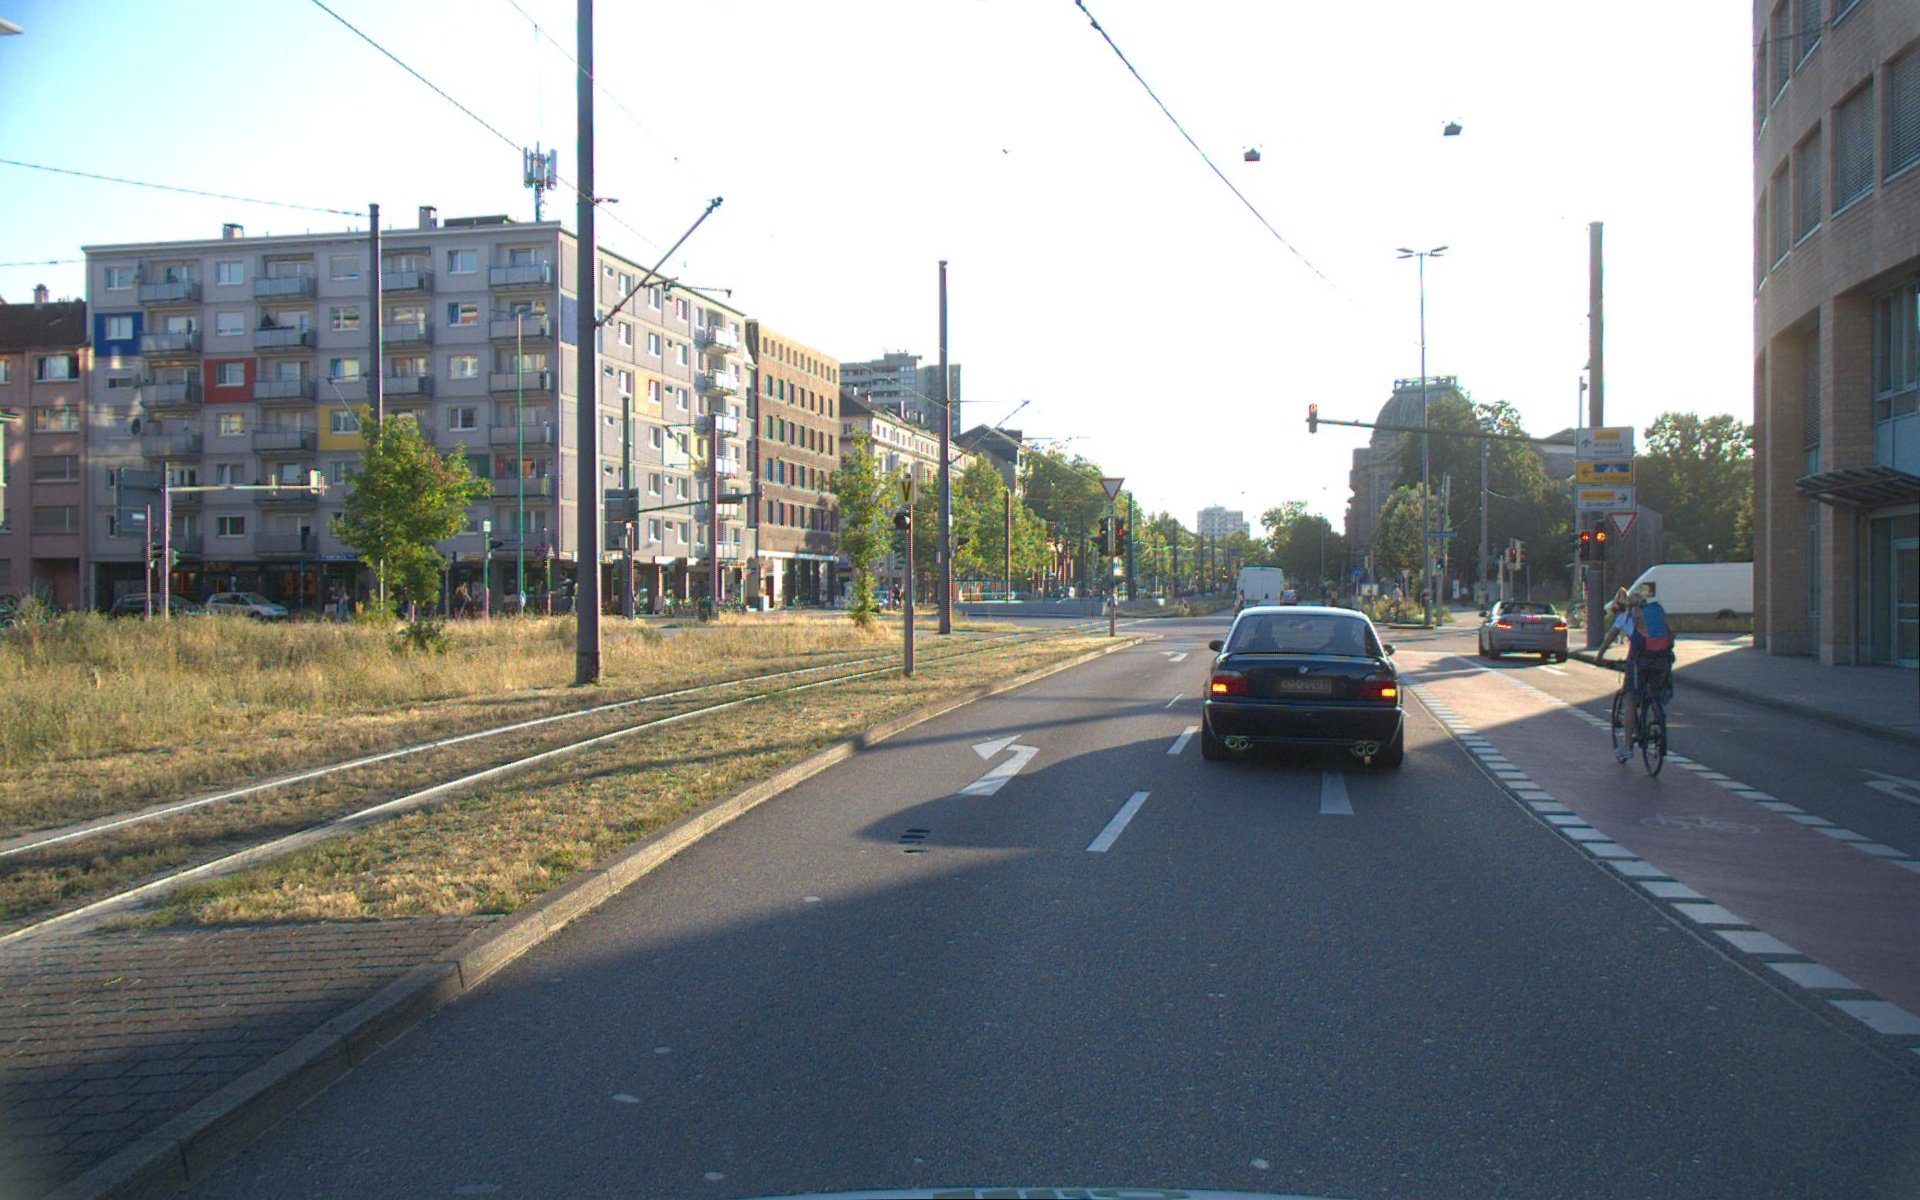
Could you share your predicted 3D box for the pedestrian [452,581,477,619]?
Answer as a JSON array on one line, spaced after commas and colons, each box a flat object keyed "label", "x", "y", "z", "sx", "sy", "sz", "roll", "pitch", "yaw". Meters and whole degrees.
[{"label": "pedestrian", "x": -22.841, "y": -0.002, "z": 76.282, "sx": 0.724, "sy": 1.698, "sz": 0.782, "roll": 0, "pitch": 1, "yaw": 25}]

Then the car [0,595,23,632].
[{"label": "car", "x": -45.020, "y": 0.636, "z": 74.824, "sx": 4.188, "sy": 1.612, "sz": 1.991, "roll": -1, "pitch": 1, "yaw": 7}]

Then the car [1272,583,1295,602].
[{"label": "car", "x": 28.494, "y": -0.652, "z": 145.639, "sx": 1.756, "sy": 1.593, "sz": 4.004, "roll": -1, "pitch": 1, "yaw": 8}]

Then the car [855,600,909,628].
[{"label": "car", "x": -4.594, "y": 0.819, "z": 98.208, "sx": 1.678, "sy": 1.459, "sz": 4.000, "roll": 2, "pitch": 2, "yaw": 22}]

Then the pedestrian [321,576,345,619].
[{"label": "pedestrian", "x": -28.204, "y": -0.119, "z": 74.364, "sx": 0.690, "sy": 1.884, "sz": 0.737, "roll": 0, "pitch": 1, "yaw": 13}]

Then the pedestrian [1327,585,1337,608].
[{"label": "pedestrian", "x": 24.890, "y": -0.248, "z": 110.547, "sx": 0.603, "sy": 1.501, "sz": 0.801, "roll": 0, "pitch": 1, "yaw": 16}]

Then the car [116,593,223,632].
[{"label": "car", "x": -34.313, "y": 0.531, "z": 71.874, "sx": 3.782, "sy": 1.612, "sz": 1.805, "roll": -1, "pitch": 1, "yaw": 7}]

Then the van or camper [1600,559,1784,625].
[{"label": "van or camper", "x": 31.366, "y": -0.335, "z": 71.166, "sx": 6.893, "sy": 2.721, "sz": 2.600, "roll": 0, "pitch": 1, "yaw": 15}]

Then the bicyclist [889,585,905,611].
[{"label": "bicyclist", "x": -3.661, "y": -0.136, "z": 96.369, "sx": 0.647, "sy": 1.467, "sz": 0.857, "roll": 2, "pitch": 2, "yaw": 18}]

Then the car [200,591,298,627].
[{"label": "car", "x": -33.463, "y": 0.407, "z": 77.879, "sx": 3.782, "sy": 1.612, "sz": 1.805, "roll": -1, "pitch": 1, "yaw": 7}]

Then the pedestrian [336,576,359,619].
[{"label": "pedestrian", "x": -27.431, "y": -0.114, "z": 74.064, "sx": 0.589, "sy": 1.879, "sz": 0.823, "roll": 0, "pitch": 1, "yaw": 12}]

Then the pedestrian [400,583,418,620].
[{"label": "pedestrian", "x": -25.014, "y": 0.067, "z": 75.077, "sx": 0.503, "sy": 1.657, "sz": 0.616, "roll": 0, "pitch": 1, "yaw": 13}]

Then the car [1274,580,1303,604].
[{"label": "car", "x": 20.863, "y": -0.494, "z": 104.947, "sx": 1.700, "sy": 1.410, "sz": 4.004, "roll": 0, "pitch": 2, "yaw": 13}]

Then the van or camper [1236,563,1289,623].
[{"label": "van or camper", "x": 14.113, "y": -0.376, "z": 76.980, "sx": 2.214, "sy": 2.670, "sz": 4.507, "roll": 0, "pitch": 1, "yaw": 13}]

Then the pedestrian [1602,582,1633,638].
[{"label": "pedestrian", "x": 18.987, "y": 0.285, "z": 47.759, "sx": 0.662, "sy": 1.597, "sz": 0.801, "roll": 0, "pitch": 1, "yaw": 10}]

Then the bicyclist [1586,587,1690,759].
[{"label": "bicyclist", "x": 6.244, "y": 0.651, "z": 15.271, "sx": 0.641, "sy": 1.509, "sz": 1.039, "roll": 2, "pitch": 0, "yaw": 10}]

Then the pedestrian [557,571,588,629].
[{"label": "pedestrian", "x": -12.217, "y": 0.003, "z": 52.150, "sx": 0.707, "sy": 1.793, "sz": 0.648, "roll": 0, "pitch": 1, "yaw": 33}]

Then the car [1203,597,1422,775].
[{"label": "car", "x": 3.447, "y": 0.712, "z": 16.295, "sx": 1.791, "sy": 1.377, "sz": 4.646, "roll": 1, "pitch": 1, "yaw": 12}]

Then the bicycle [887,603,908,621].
[{"label": "bicycle", "x": -3.655, "y": 0.682, "z": 96.506, "sx": 0.687, "sy": 0.986, "sz": 1.735, "roll": 3, "pitch": 2, "yaw": 17}]

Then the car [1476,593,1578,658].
[{"label": "car", "x": 13.659, "y": 0.577, "z": 40.052, "sx": 1.745, "sy": 1.377, "sz": 4.271, "roll": 1, "pitch": 1, "yaw": 11}]

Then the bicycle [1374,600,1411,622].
[{"label": "bicycle", "x": 20.658, "y": 0.525, "z": 79.096, "sx": 1.691, "sy": 0.987, "sz": 0.610, "roll": 1, "pitch": 1, "yaw": 13}]

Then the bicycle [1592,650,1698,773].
[{"label": "bicycle", "x": 6.304, "y": 0.999, "z": 15.298, "sx": 0.504, "sy": 0.971, "sz": 1.777, "roll": 1, "pitch": 1, "yaw": 10}]

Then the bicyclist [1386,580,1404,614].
[{"label": "bicyclist", "x": 20.775, "y": -0.134, "z": 79.053, "sx": 0.780, "sy": 1.598, "sz": 0.664, "roll": 0, "pitch": 1, "yaw": 12}]
